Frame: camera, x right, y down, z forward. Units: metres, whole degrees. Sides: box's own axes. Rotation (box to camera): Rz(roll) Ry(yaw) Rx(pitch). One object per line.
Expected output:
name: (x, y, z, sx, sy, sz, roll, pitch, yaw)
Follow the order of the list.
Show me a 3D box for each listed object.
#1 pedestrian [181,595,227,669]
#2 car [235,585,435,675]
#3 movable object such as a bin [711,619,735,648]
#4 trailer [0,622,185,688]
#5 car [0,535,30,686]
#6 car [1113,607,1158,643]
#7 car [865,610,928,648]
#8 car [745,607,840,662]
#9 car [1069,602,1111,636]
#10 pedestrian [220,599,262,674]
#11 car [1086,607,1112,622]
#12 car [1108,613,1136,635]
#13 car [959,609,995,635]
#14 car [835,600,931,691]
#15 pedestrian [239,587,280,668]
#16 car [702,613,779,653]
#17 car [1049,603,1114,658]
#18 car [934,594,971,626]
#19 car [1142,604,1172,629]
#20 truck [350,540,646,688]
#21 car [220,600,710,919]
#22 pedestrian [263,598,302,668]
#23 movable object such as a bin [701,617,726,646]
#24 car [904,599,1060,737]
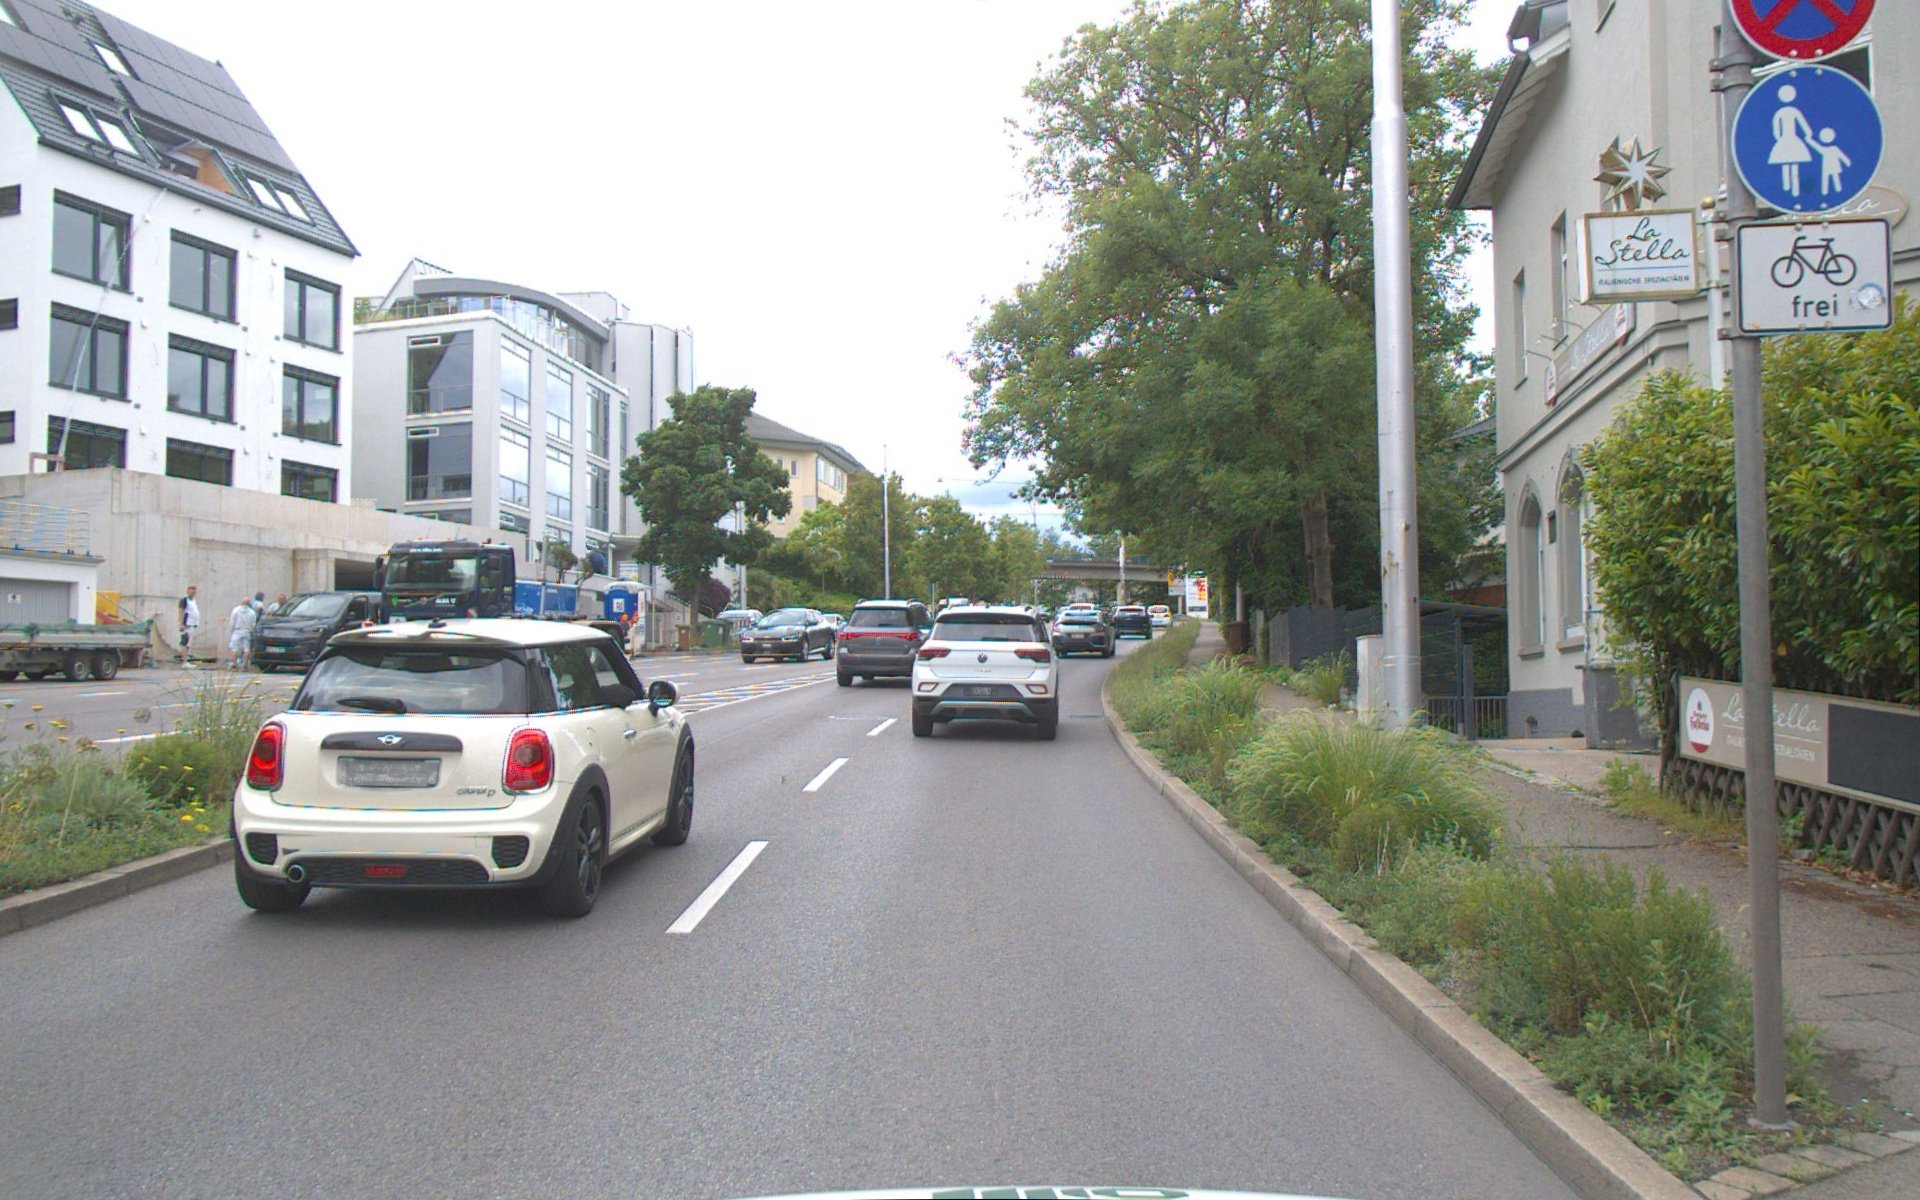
pedestrian: (-17.308, 0.731, 37.859, 0.612, 1.669, 0.672, 2, -1, 20)
car: (-14.746, 0.676, 39.423, 1.940, 2.001, 5.222, 0, 0, 12)
movable object such as a bin: (-8.415, 1.179, 58.680, 0.631, 1.007, 0.660, 0, 0, 17)
trailer: (-17.364, 1.013, 31.928, 2.198, 1.131, 4.626, 0, 0, 7)
car: (-18.144, 0.173, 25.963, 2.184, 2.613, 7.427, 0, 0, 7)
car: (8.178, 1.164, 76.814, 1.833, 1.527, 4.558, 3, -1, 9)
car: (-2.417, 1.109, 64.033, 1.804, 1.418, 4.287, 0, 0, 6)
car: (-4.920, 0.988, 49.169, 1.659, 1.523, 4.490, 1, 0, 9)
car: (6.748, 0.959, 85.438, 1.818, 1.681, 4.640, -1, 0, 9)
pedestrian: (-16.508, 0.837, 37.957, 0.670, 1.669, 0.662, 2, -1, -41)
car: (14.824, 1.577, 176.475, 1.824, 1.527, 4.047, -1, 0, -9)
car: (11.582, 1.716, 118.082, 1.818, 1.527, 4.059, -1, 0, 8)
car: (1.207, 1.495, 112.807, 2.025, 1.685, 4.696, 0, 0, 6)
car: (-1.530, 0.863, 33.361, 1.776, 1.681, 4.634, -1, 0, -2)
pedestrian: (-16.555, 0.646, 39.074, 0.670, 1.873, 0.662, 2, -1, -41)
car: (-8.781, 1.297, 66.429, 1.733, 1.525, 4.308, 0, 0, 12)
car: (3.809, 0.940, 51.296, 1.834, 1.527, 4.557, 3, -1, 6)
car: (-0.548, 0.760, 126.027, 2.024, 2.346, 5.469, 0, 0, 8)
car: (12.431, 1.041, 104.187, 1.818, 1.527, 4.058, -1, 0, 7)
truck: (-10.387, 0.301, 38.528, 2.898, 3.023, 8.986, 1, 0, 11)
car: (-2.512, 0.730, 9.262, 1.594, 1.418, 3.566, -1, 0, 1)
pedestrian: (-16.452, 0.795, 40.171, 0.670, 1.669, 0.662, 2, -1, -41)
movable object such as a bin: (-8.642, 1.103, 58.048, 0.631, 1.033, 0.660, 0, 0, 17)
car: (0.298, 0.791, 20.906, 1.774, 1.566, 3.690, -1, 0, 1)
